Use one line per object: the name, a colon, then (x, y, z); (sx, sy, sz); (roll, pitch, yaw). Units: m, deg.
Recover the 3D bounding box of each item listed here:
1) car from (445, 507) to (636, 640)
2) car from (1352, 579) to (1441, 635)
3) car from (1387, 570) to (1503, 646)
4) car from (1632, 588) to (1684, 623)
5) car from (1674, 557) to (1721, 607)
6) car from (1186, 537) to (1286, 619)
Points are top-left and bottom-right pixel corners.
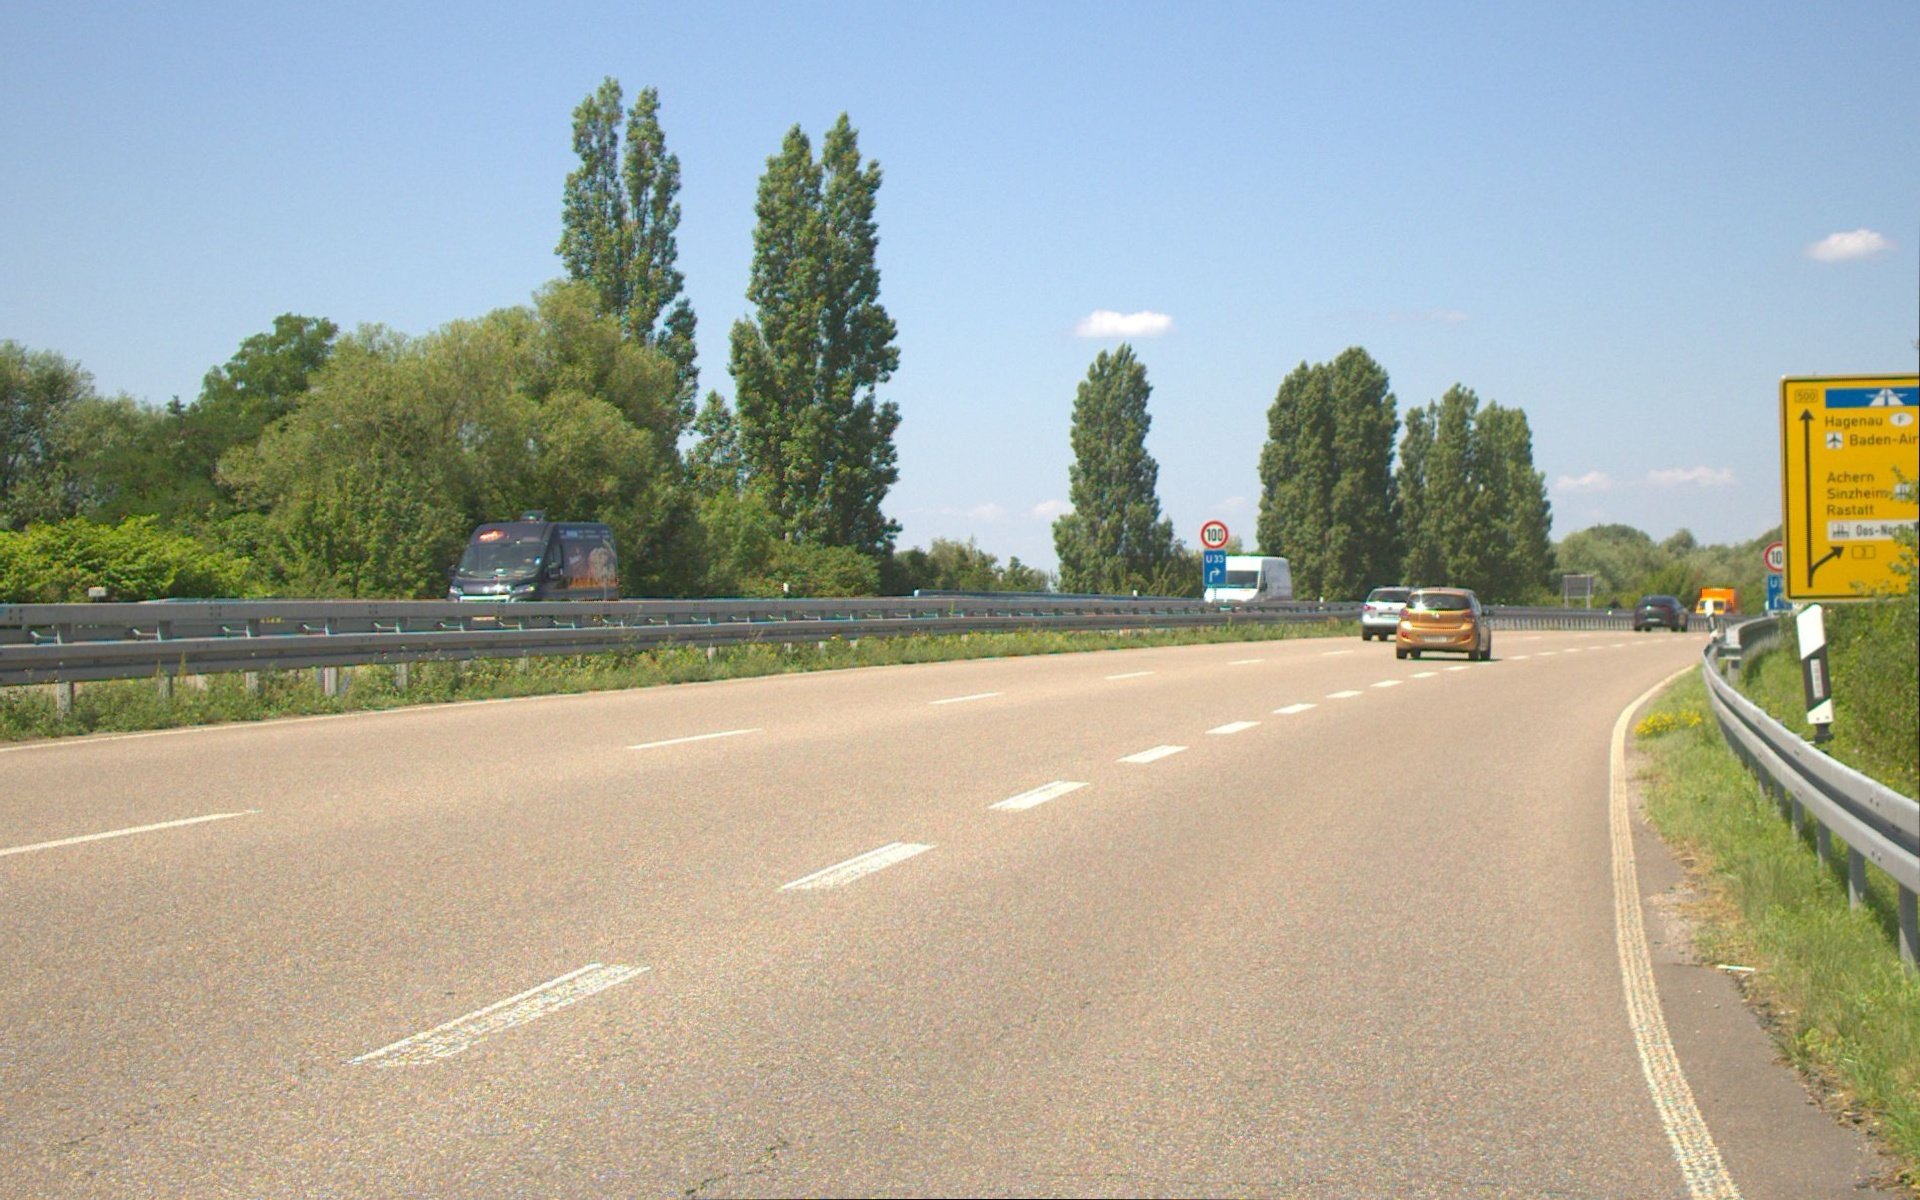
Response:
car: (-8.689, -0.510, 71.726); (2.205, 2.629, 5.622); (1, -1, 12)
car: (12.057, 0.167, 94.752); (1.842, 1.446, 3.997); (2, 1, 15)
car: (10.036, 0.148, 70.944); (1.842, 1.459, 3.997); (2, 1, 15)
car: (30.889, 0.233, 152.090); (1.945, 1.459, 3.997); (2, 1, 15)
car: (49.214, -1.162, 229.344); (2.307, 3.280, 7.021); (0, 0, 18)
car: (10.069, -0.763, 124.839); (2.281, 2.764, 7.216); (0, -1, 16)
